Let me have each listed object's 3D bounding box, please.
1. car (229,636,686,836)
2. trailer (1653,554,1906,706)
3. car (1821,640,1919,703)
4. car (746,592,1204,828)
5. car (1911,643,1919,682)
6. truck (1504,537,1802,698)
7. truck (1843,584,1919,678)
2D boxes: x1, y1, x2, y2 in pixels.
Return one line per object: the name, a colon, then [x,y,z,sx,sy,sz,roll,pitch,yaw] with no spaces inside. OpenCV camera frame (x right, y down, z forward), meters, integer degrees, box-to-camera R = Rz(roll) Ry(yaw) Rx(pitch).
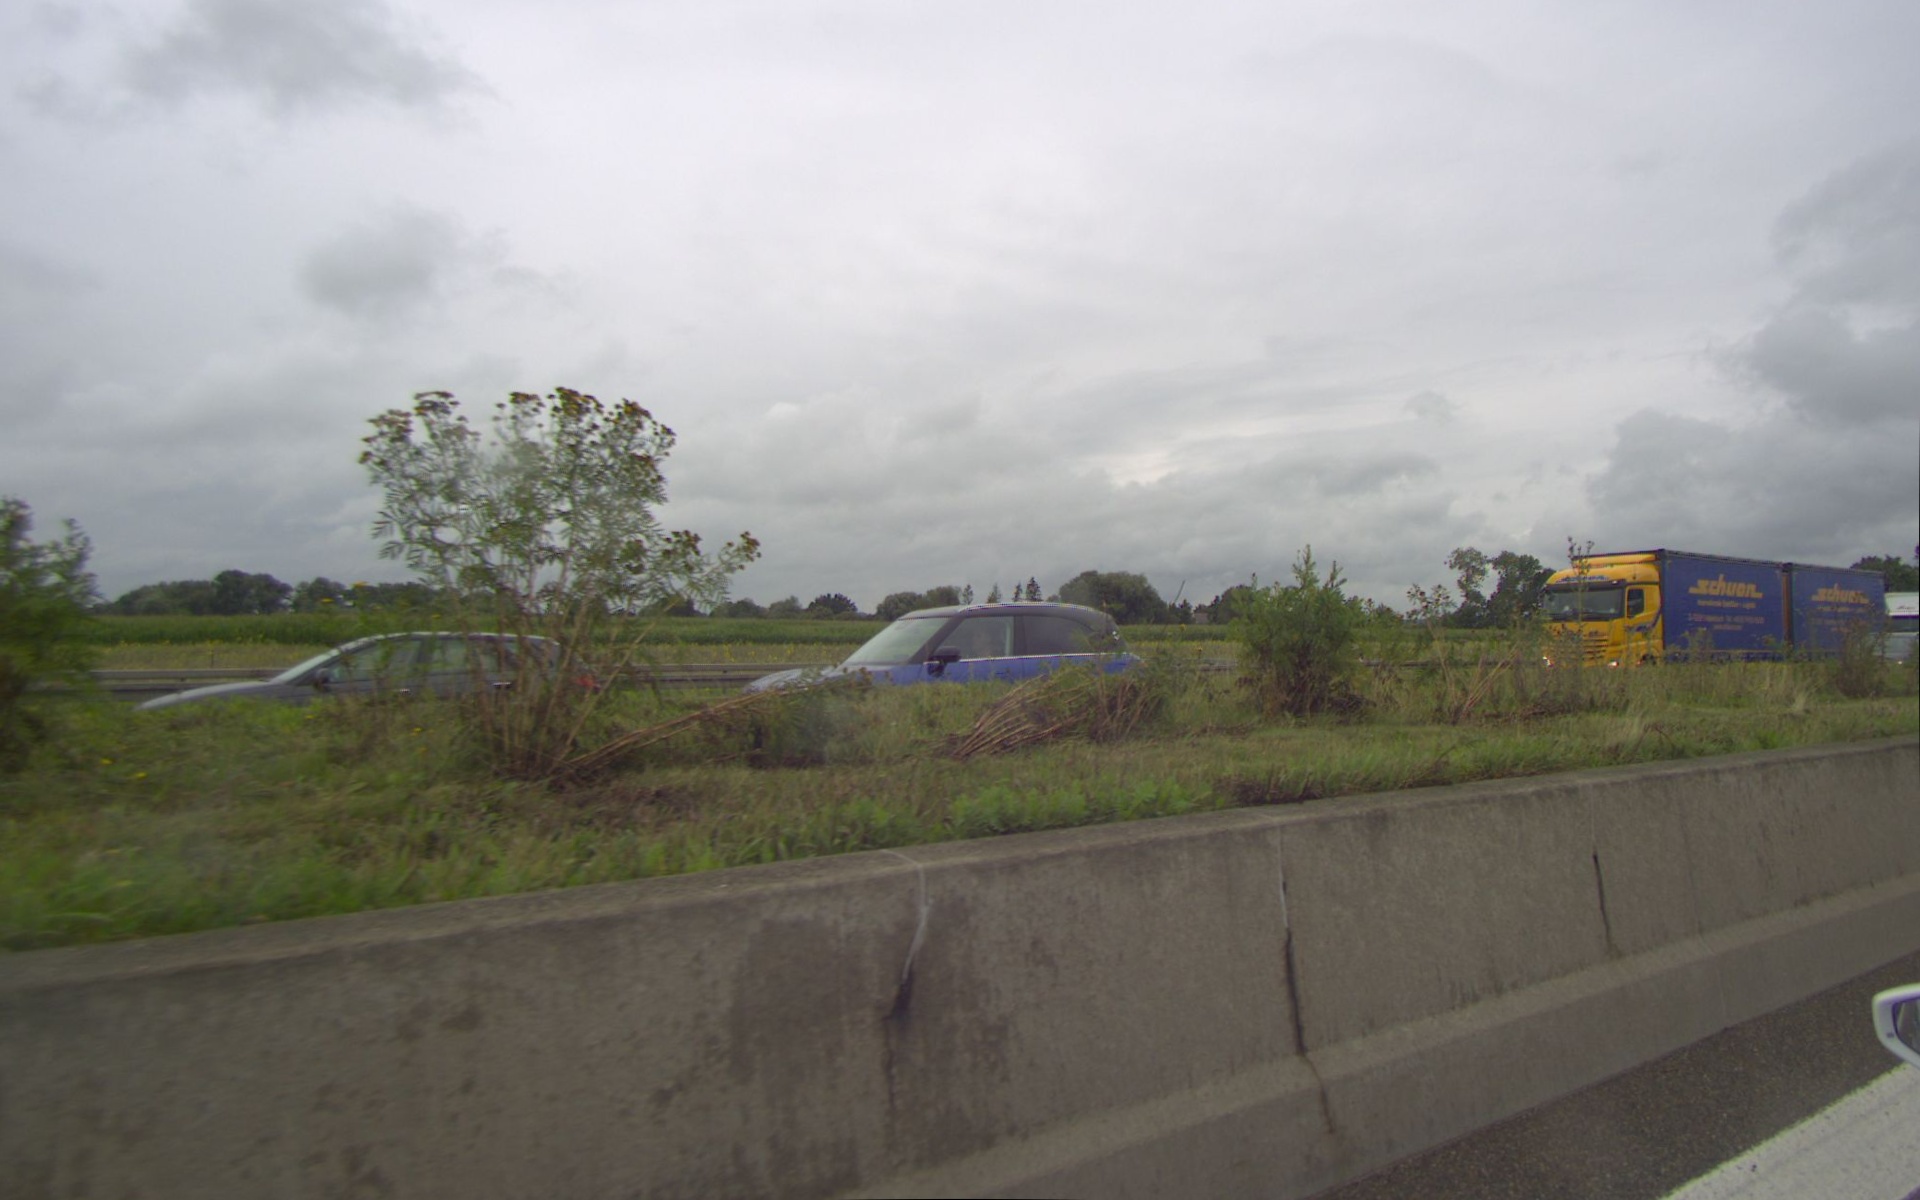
car: [-5.114,1.278,10.582,3.953,1.674,1.807,2,0,-30]
trailer: [29.885,1.073,36.391,11.548,4.832,3.370,1,0,-31]
car: [28.652,2.150,31.082,3.953,1.808,1.858,1,-2,-30]
car: [0.176,0.909,9.696,3.953,1.840,1.984,2,0,-30]
car: [43.591,2.725,43.732,4.956,1.637,1.873,1,-2,-31]
truck: [22.069,0.631,31.720,10.861,4.422,3.396,2,0,-30]
truck: [50.976,1.660,52.836,11.655,4.543,3.493,2,0,-32]
